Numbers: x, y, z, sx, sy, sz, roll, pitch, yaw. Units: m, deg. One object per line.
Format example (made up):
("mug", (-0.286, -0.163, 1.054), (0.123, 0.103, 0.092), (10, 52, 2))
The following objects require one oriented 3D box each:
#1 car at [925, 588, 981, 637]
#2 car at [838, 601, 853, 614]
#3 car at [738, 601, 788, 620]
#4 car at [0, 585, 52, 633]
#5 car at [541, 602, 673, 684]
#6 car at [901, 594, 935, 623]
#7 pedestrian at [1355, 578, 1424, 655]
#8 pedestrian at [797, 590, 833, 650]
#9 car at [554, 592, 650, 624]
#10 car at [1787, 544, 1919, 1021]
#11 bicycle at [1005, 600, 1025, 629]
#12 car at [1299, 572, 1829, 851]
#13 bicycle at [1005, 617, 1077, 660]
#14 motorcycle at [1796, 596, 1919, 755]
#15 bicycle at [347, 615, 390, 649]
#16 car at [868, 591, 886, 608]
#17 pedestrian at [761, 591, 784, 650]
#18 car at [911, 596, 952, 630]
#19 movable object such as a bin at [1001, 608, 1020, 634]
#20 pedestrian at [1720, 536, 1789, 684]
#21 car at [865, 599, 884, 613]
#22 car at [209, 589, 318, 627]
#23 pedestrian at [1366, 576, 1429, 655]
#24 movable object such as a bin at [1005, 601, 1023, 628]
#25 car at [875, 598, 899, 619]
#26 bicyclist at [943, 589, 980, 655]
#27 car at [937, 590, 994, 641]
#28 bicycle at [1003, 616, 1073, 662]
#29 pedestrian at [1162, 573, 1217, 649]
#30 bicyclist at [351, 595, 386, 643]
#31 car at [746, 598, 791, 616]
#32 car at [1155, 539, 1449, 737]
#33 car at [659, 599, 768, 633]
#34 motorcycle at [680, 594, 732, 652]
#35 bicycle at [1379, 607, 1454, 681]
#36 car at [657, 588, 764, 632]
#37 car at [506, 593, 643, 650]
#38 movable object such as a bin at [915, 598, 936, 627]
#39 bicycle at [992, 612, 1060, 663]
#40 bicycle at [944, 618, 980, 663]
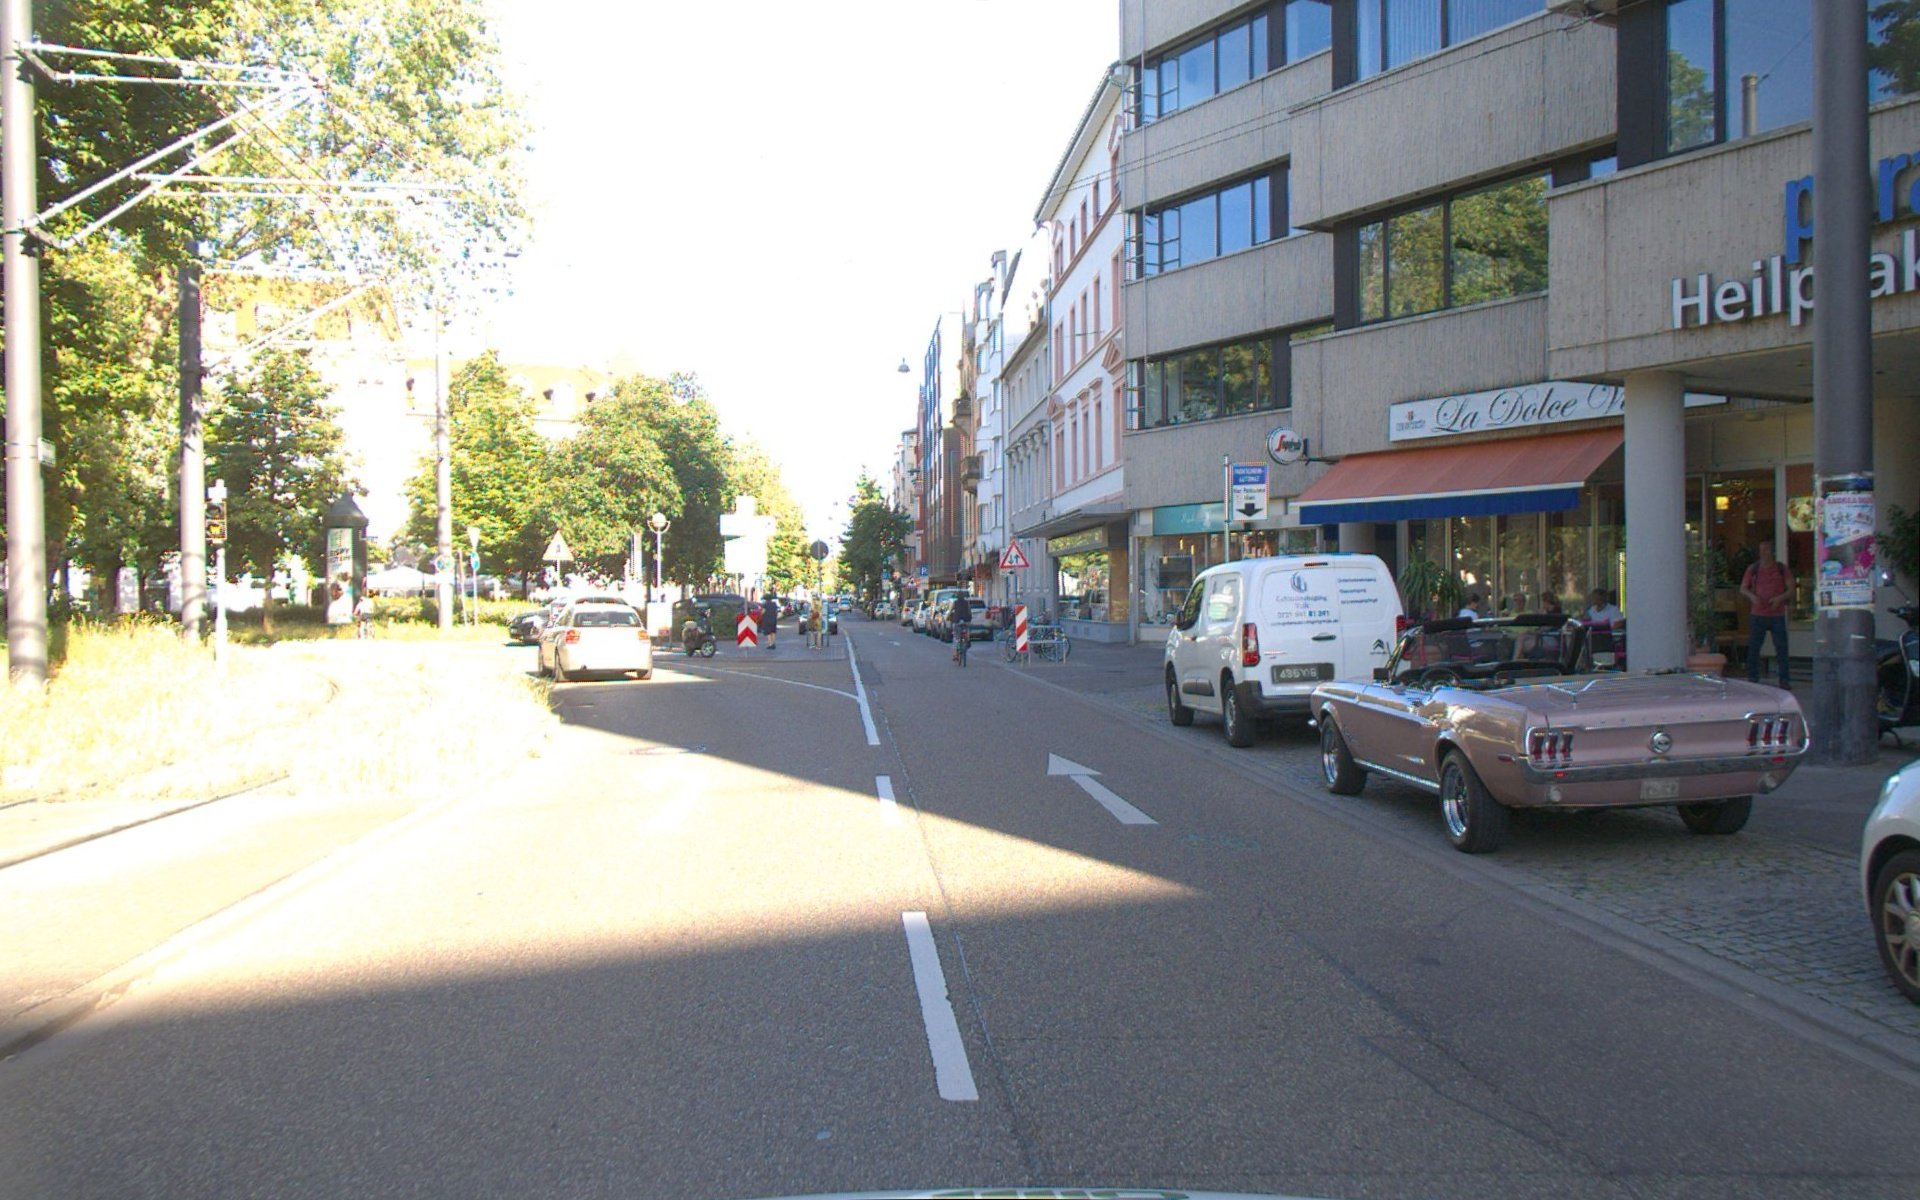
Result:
("car", (-0.338, 0.523, 71.261), (1.955, 2.040, 5.111), (0, 0, -6))
("car", (-14.337, 0.988, 206.919), (1.833, 1.583, 3.997), (1, -1, -4))
("car", (-16.043, 0.852, 134.873), (3.908, 1.534, 1.998), (1, -1, -4))
("car", (-48.695, 0.419, 83.075), (5.274, 2.355, 1.982), (1, -1, -28))
("car", (-6.883, 0.816, 31.963), (1.964, 1.448, 4.172), (1, -1, -20))
("car", (-2.611, 0.570, 101.915), (1.862, 1.704, 4.820), (1, -1, -5))
("pedestrian", (7.577, 0.289, 29.187), (0.828, 1.315, 0.827), (-2, -1, -17))
("pedestrian", (-4.214, 0.580, 48.082), (0.789, 1.729, 0.667), (0, -2, 38))
("car", (-21.351, 0.503, 98.777), (5.210, 1.831, 2.140), (2, -1, -31))
("car", (4.461, 0.651, 4.965), (1.815, 1.718, 3.863), (1, -1, -5))
("bicycle", (2.349, 0.614, 70.434), (0.473, 1.206, 1.721), (-3, -2, 14))
("car", (3.747, 0.646, 11.274), (1.738, 1.479, 4.728), (1, -1, -2))
("bicycle", (1.969, 0.933, 40.182), (1.667, 1.022, 0.428), (1, -1, 12))
("motorcycle", (7.514, 0.561, 13.200), (0.748, 1.175, 2.048), (-3, -2, 5))
("bicycle", (-19.187, 1.035, 53.639), (0.801, 1.088, 2.555), (2, -1, -31))
("car", (-10.006, -0.010, 198.989), (1.954, 2.049, 3.996), (0, 0, -5))
("pedestrian", (-5.450, 0.591, 48.147), (0.623, 1.701, 0.692), (1, -1, -4))
("car", (-1.418, 0.646, 80.714), (1.685, 1.541, 3.579), (-3, -1, -5))
("movable object such as a bin", (2.254, 0.929, 73.759), (0.779, 1.095, 0.660), (-3, -1, -3))
("pedestrian", (10.155, 0.131, 21.142), (0.691, 1.848, 0.714), (0, -2, 35))
("car", (-9.075, 0.638, 175.127), (1.954, 1.478, 3.996), (0, 0, -5))
("car", (-39.550, 0.461, 93.967), (5.519, 2.049, 1.798), (2, -1, -31))
("pedestrian", (8.069, 0.278, 30.519), (0.834, 1.427, 0.744), (1, 0, -34))
("movable object such as a bin", (2.360, 0.640, 72.491), (0.753, 1.181, 0.578), (1, -1, -2))
("car", (-6.318, 0.745, 143.044), (1.953, 1.646, 4.008), (1, -1, -2))
("bicyclist", (0.026, 0.509, 38.047), (0.770, 1.478, 1.094), (1, -1, -4))
("car", (0.158, 0.606, 61.216), (1.711, 1.769, 4.955), (1, -1, -5))
("bicycle", (1.883, 0.941, 39.807), (1.643, 1.081, 0.344), (1, -1, 12))
("pedestrian", (5.457, 0.267, 39.405), (1.109, 1.773, 1.022), (1, -1, -2))
("bicyclist", (-19.199, 0.627, 53.670), (0.919, 1.534, 0.816), (2, -2, -32))
("car", (-17.452, 0.634, 150.611), (3.908, 1.534, 1.893), (1, -1, -4))
("car", (3.482, 0.403, 17.734), (1.954, 1.844, 4.305), (1, -1, -5))
("car", (-11.567, 0.777, 77.777), (4.780, 1.514, 1.748), (1, -1, -28))
("motorcycle", (-6.283, 0.566, 40.790), (0.737, 1.398, 1.745), (1, -1, -27))
("bicycle", (6.717, 0.642, 24.402), (0.552, 1.052, 1.643), (1, -1, -4))
("car", (-10.044, 0.403, 66.614), (3.929, 1.697, 1.988), (1, 0, -21))
("car", (-12.122, 0.665, 52.073), (3.835, 1.711, 1.785), (0, -1, -41))
("movable object such as a bin", (-1.879, 0.688, 91.383), (1.051, 1.482, 1.492), (-3, 1, 0))
("bicycle", (1.676, 0.947, 41.665), (1.587, 1.265, 0.659), (0, -1, 16))
("bicycle", (0.023, 0.926, 37.953), (0.639, 0.975, 2.695), (1, -1, -4))
